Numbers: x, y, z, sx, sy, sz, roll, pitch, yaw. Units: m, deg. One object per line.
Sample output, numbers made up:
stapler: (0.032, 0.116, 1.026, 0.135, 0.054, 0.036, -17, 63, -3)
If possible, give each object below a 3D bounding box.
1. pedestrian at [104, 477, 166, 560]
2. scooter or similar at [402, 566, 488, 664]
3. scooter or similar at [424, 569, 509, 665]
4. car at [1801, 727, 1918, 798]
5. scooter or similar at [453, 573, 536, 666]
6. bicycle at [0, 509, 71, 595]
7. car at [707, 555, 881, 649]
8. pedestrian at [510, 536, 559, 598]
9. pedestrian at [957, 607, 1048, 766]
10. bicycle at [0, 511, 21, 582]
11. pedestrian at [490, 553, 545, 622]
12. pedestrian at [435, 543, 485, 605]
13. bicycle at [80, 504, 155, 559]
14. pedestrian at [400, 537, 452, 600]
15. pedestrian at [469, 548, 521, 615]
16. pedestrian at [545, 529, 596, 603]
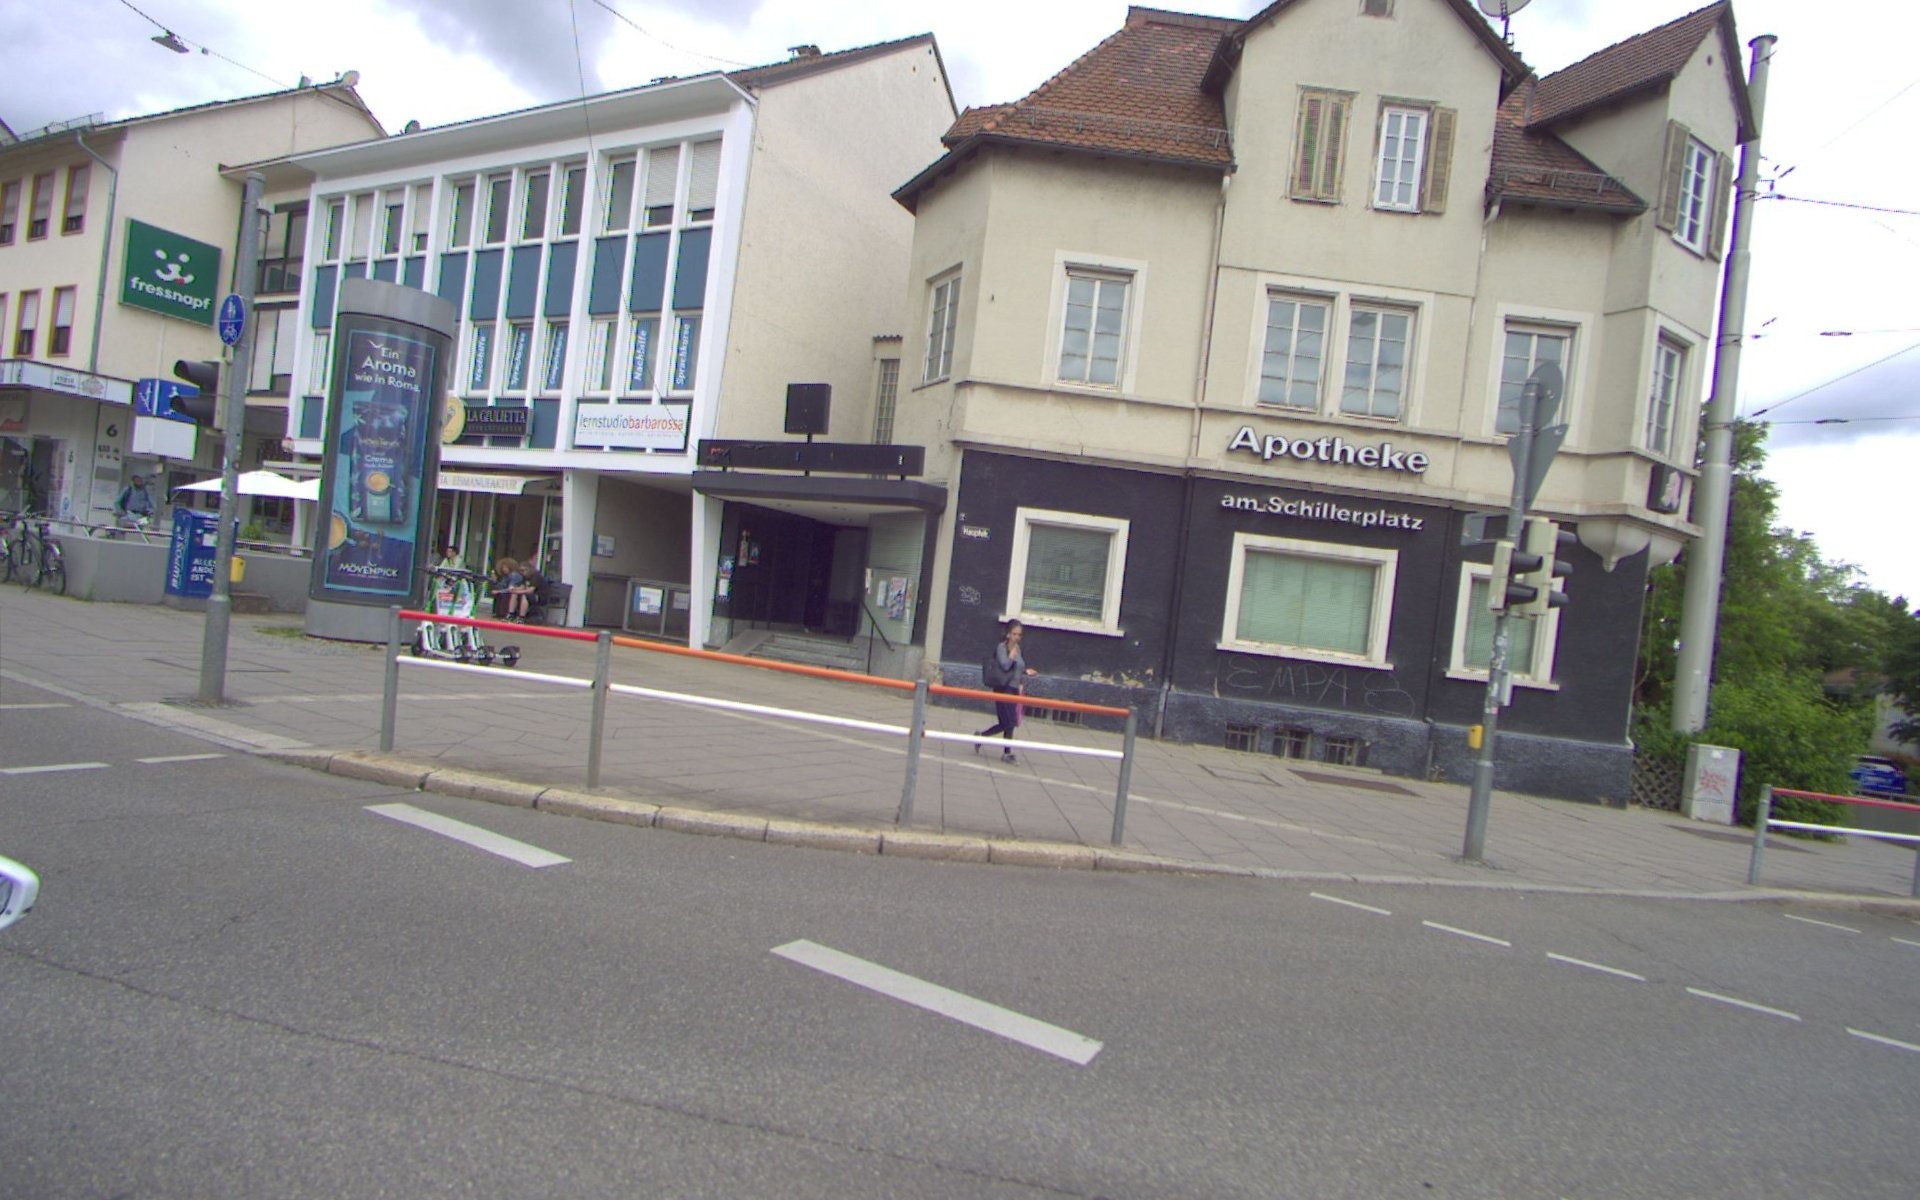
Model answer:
pedestrian: (-17.823, -1.753, 21.742, 0.787, 1.655, 0.667, 8, 1, 29)
scooter or similar: (-6.818, 0.190, 13.302, 1.187, 1.147, 0.315, 8, 1, 29)
scooter or similar: (-6.684, 0.222, 13.623, 1.187, 1.147, 0.315, 8, 1, 29)
car: (30.620, 5.482, 34.383, 1.848, 1.825, 4.226, 7, -1, 28)
scooter or similar: (-6.464, 0.263, 13.953, 1.187, 1.147, 0.315, 8, 1, 29)
bicycle: (-13.098, -0.685, 14.237, 1.363, 1.066, 0.274, 8, 1, 29)
car: (-3.799, 0.110, 23.637, 1.706, 1.686, 3.972, 8, -1, 31)
pedestrian: (-9.440, -0.726, 22.325, 0.577, 1.233, 0.615, 8, -2, 27)
pedestrian: (0.468, 0.960, 11.304, 0.731, 1.640, 0.588, 9, -2, -3)
bicycle: (-14.403, -0.842, 14.889, 1.363, 0.986, 0.274, 8, 1, 29)
pedestrian: (-8.716, -0.236, 19.823, 0.577, 1.233, 0.615, 8, -2, 26)
pedestrian: (-10.787, -0.556, 21.727, 0.577, 1.235, 0.614, 8, 0, 26)
bicycle: (-17.975, -1.460, 21.464, 1.361, 0.986, 0.274, 7, 1, 6)
pedestrian: (-11.541, -0.679, 21.762, 0.577, 1.233, 0.615, 8, -2, 26)
pedestrian: (-9.272, -0.360, 20.072, 0.577, 1.236, 0.614, 8, 2, 26)
pedestrian: (-8.467, -0.728, 21.867, 0.577, 1.477, 0.615, 8, -2, 27)
